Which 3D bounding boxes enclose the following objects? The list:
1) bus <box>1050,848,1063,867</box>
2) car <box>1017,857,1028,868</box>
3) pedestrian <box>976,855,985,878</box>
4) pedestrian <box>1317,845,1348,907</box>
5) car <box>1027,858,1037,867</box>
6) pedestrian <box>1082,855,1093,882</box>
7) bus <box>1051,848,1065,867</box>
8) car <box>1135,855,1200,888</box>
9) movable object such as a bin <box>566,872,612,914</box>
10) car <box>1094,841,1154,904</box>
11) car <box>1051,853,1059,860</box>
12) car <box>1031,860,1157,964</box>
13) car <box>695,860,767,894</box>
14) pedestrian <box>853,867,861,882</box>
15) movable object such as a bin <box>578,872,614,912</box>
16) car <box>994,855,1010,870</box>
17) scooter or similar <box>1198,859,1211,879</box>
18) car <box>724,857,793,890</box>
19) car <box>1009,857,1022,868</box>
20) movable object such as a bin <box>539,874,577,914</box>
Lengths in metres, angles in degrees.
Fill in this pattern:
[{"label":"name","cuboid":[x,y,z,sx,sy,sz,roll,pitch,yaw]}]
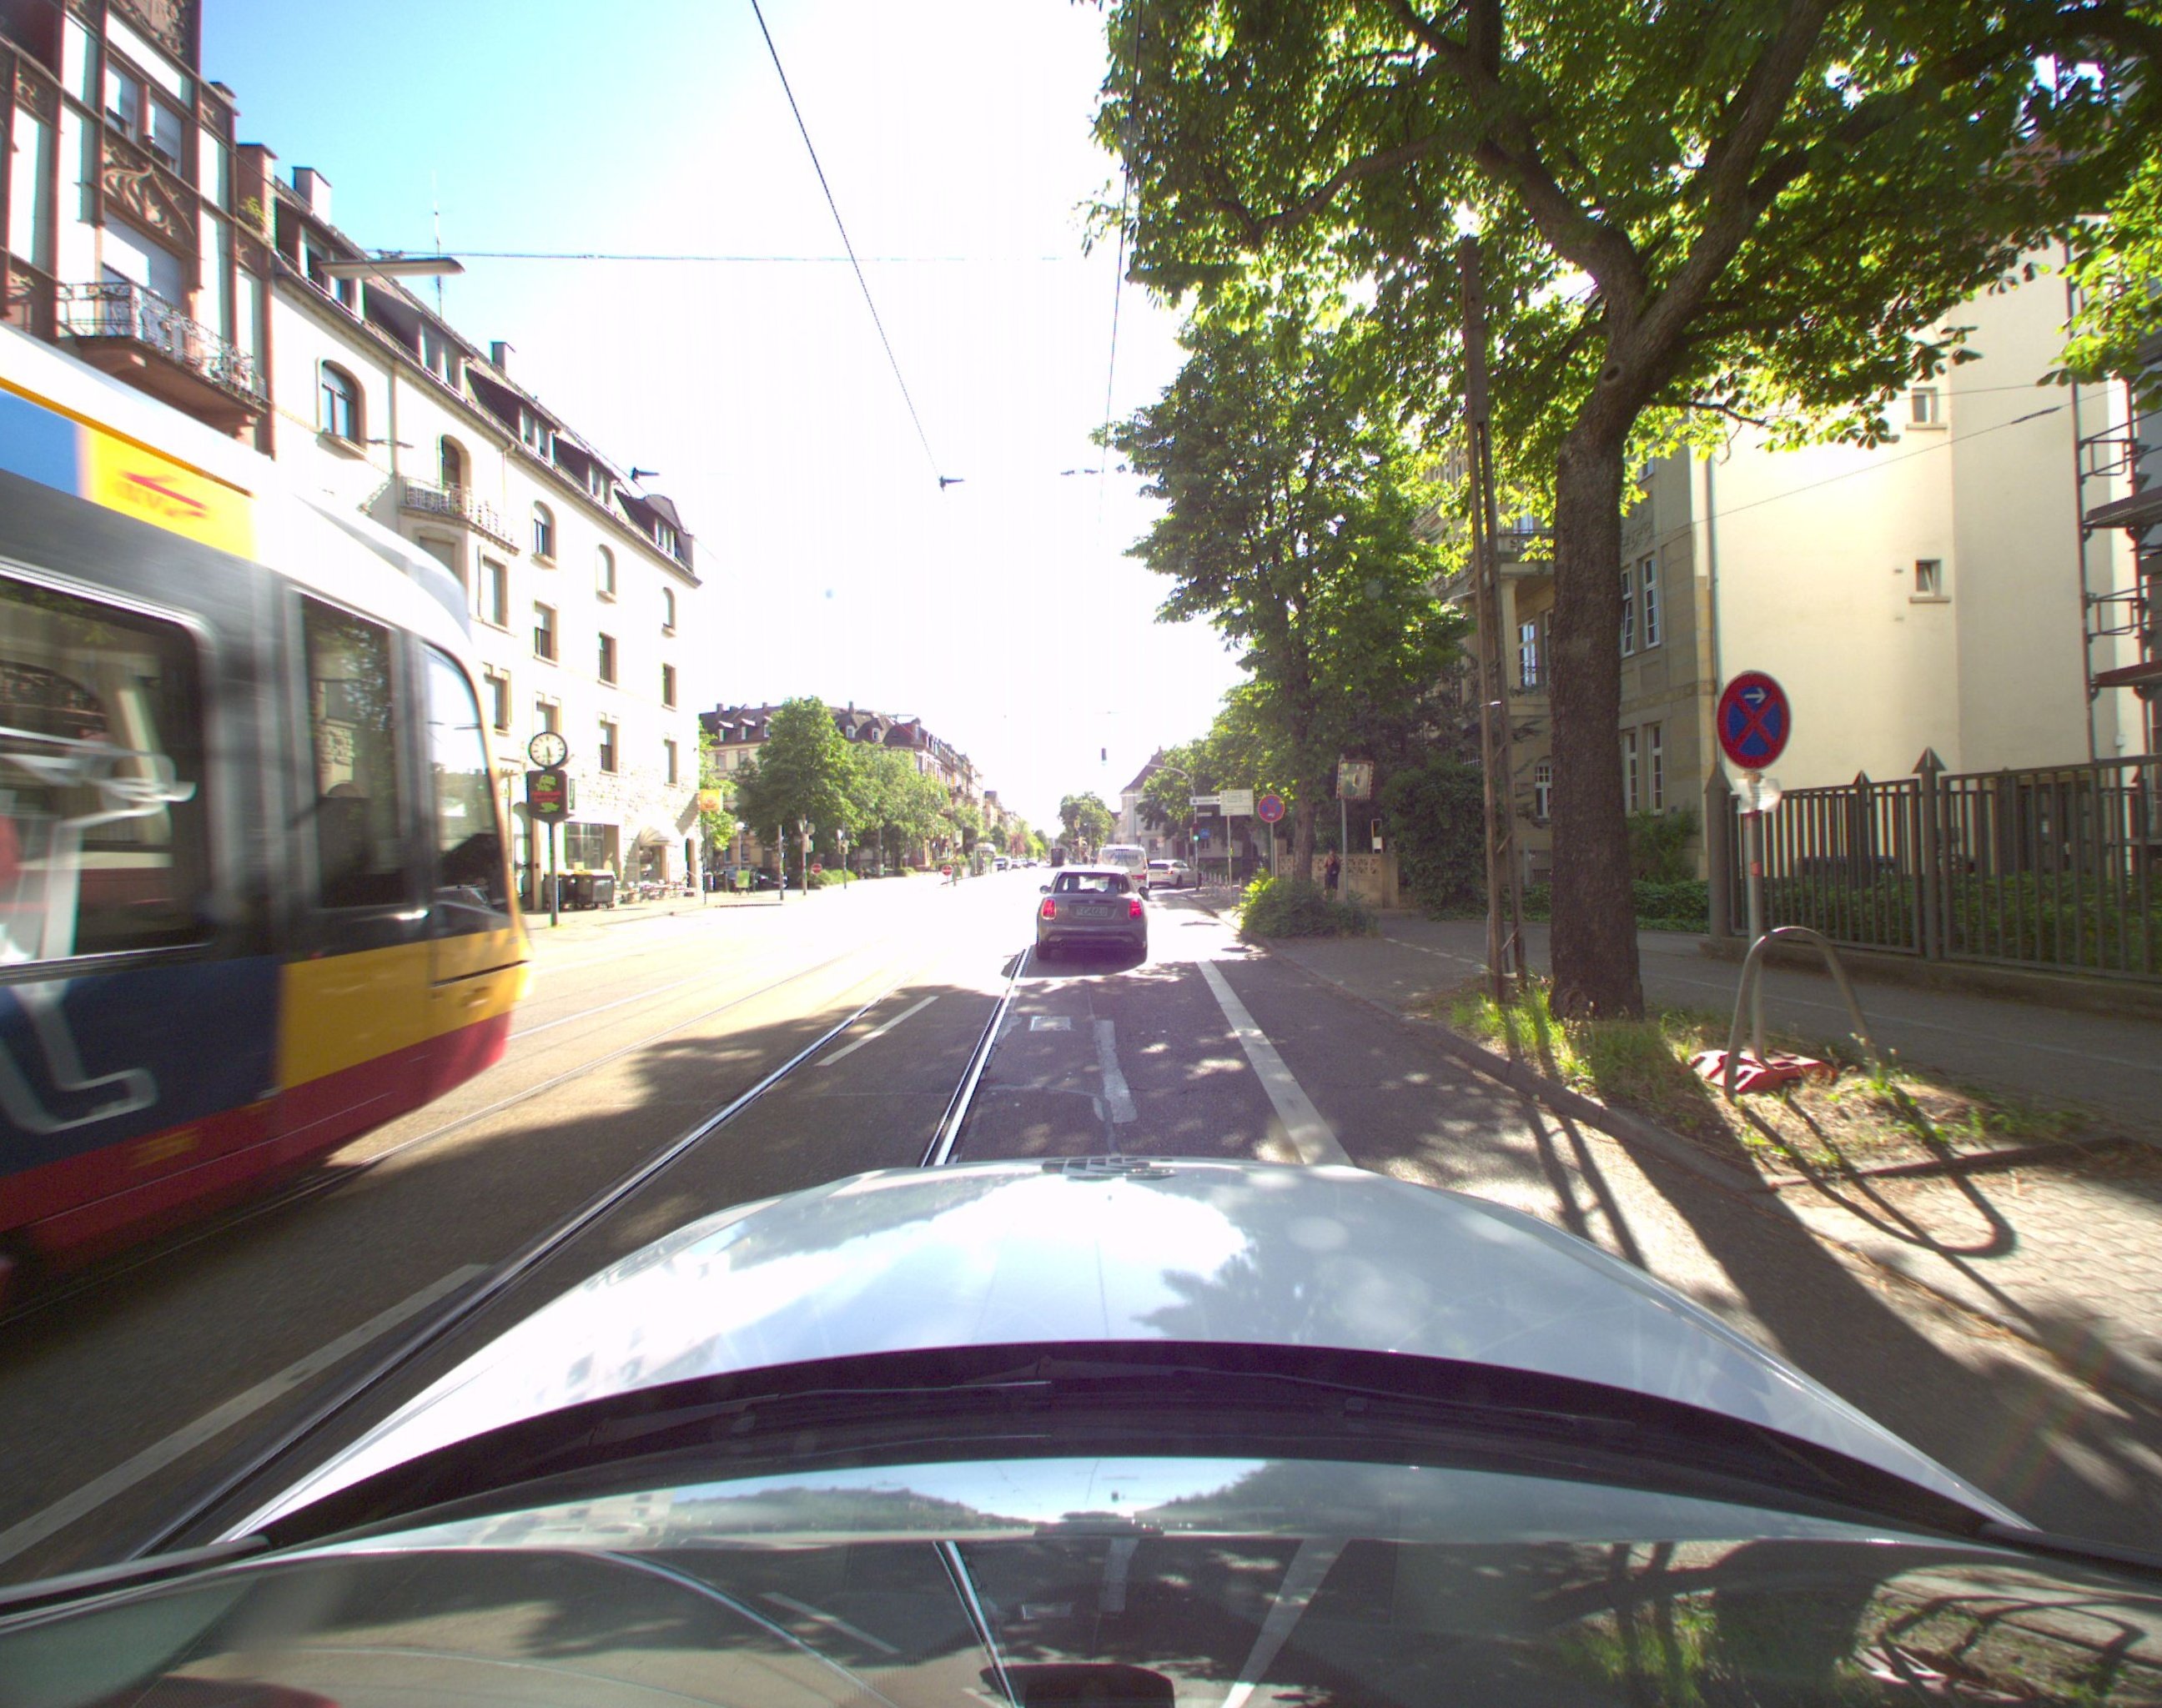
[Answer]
[{"label":"bus","cuboid":[-4.701,0.782,155.798,2.380,3.497,7.374,0,-1,-3]},{"label":"car","cuboid":[-9.352,1.398,130.456,1.772,1.618,3.996,0,-1,-3]},{"label":"pedestrian","cuboid":[-8.161,0.999,66.079,0.579,1.795,0.604,-1,0,-17]},{"label":"pedestrian","cuboid":[7.023,0.604,22.780,0.590,1.671,0.647,-3,-1,0]},{"label":"car","cuboid":[-8.947,1.542,148.661,1.772,1.618,3.996,0,-1,-3]},{"label":"pedestrian","cuboid":[0.513,1.101,61.149,0.793,2.014,0.740,0,-1,-1]},{"label":"bus","cuboid":[-4.274,0.676,148.369,2.380,3.497,7.374,0,-1,-3]},{"label":"car","cuboid":[4.494,0.893,41.772,1.975,1.618,4.024,-1,-1,28]},{"label":"movable object such as a bin","cuboid":[-16.816,1.312,27.843,0.849,1.381,1.031,-1,-1,12]},{"label":"car","cuboid":[1.550,0.678,31.044,2.111,2.208,4.944,0,-1,1]},{"label":"car","cuboid":[-5.818,0.571,181.765,1.859,1.563,3.996,0,-1,-3]},{"label":"car","cuboid":[0.216,0.869,13.752,1.809,1.488,4.000,0,-1,1]},{"label":"car","cuboid":[-21.487,1.380,50.007,3.949,2.014,2.012,-1,-1,29]},{"label":"pedestrian","cuboid":[-18.497,1.665,67.312,0.579,1.202,0.603,-2,0,-21]},{"label":"movable object such as a bin","cuboid":[-17.241,1.344,28.954,0.862,1.381,1.015,1,-2,-45]},{"label":"car","cuboid":[-10.394,1.123,106.974,1.991,2.014,5.018,0,-1,-6]},{"label":"scooter or similar","cuboid":[8.199,0.995,54.219,0.674,1.310,1.328,0,-1,0]},{"label":"car","cuboid":[-20.618,1.236,52.097,3.949,2.014,2.012,-1,-1,29]},{"label":"car","cuboid":[-9.790,1.286,122.437,1.772,1.618,3.996,0,-1,-3]},{"label":"movable object such as a bin","cuboid":[-17.440,1.323,27.171,0.849,1.325,0.659,-1,-1,11]}]
